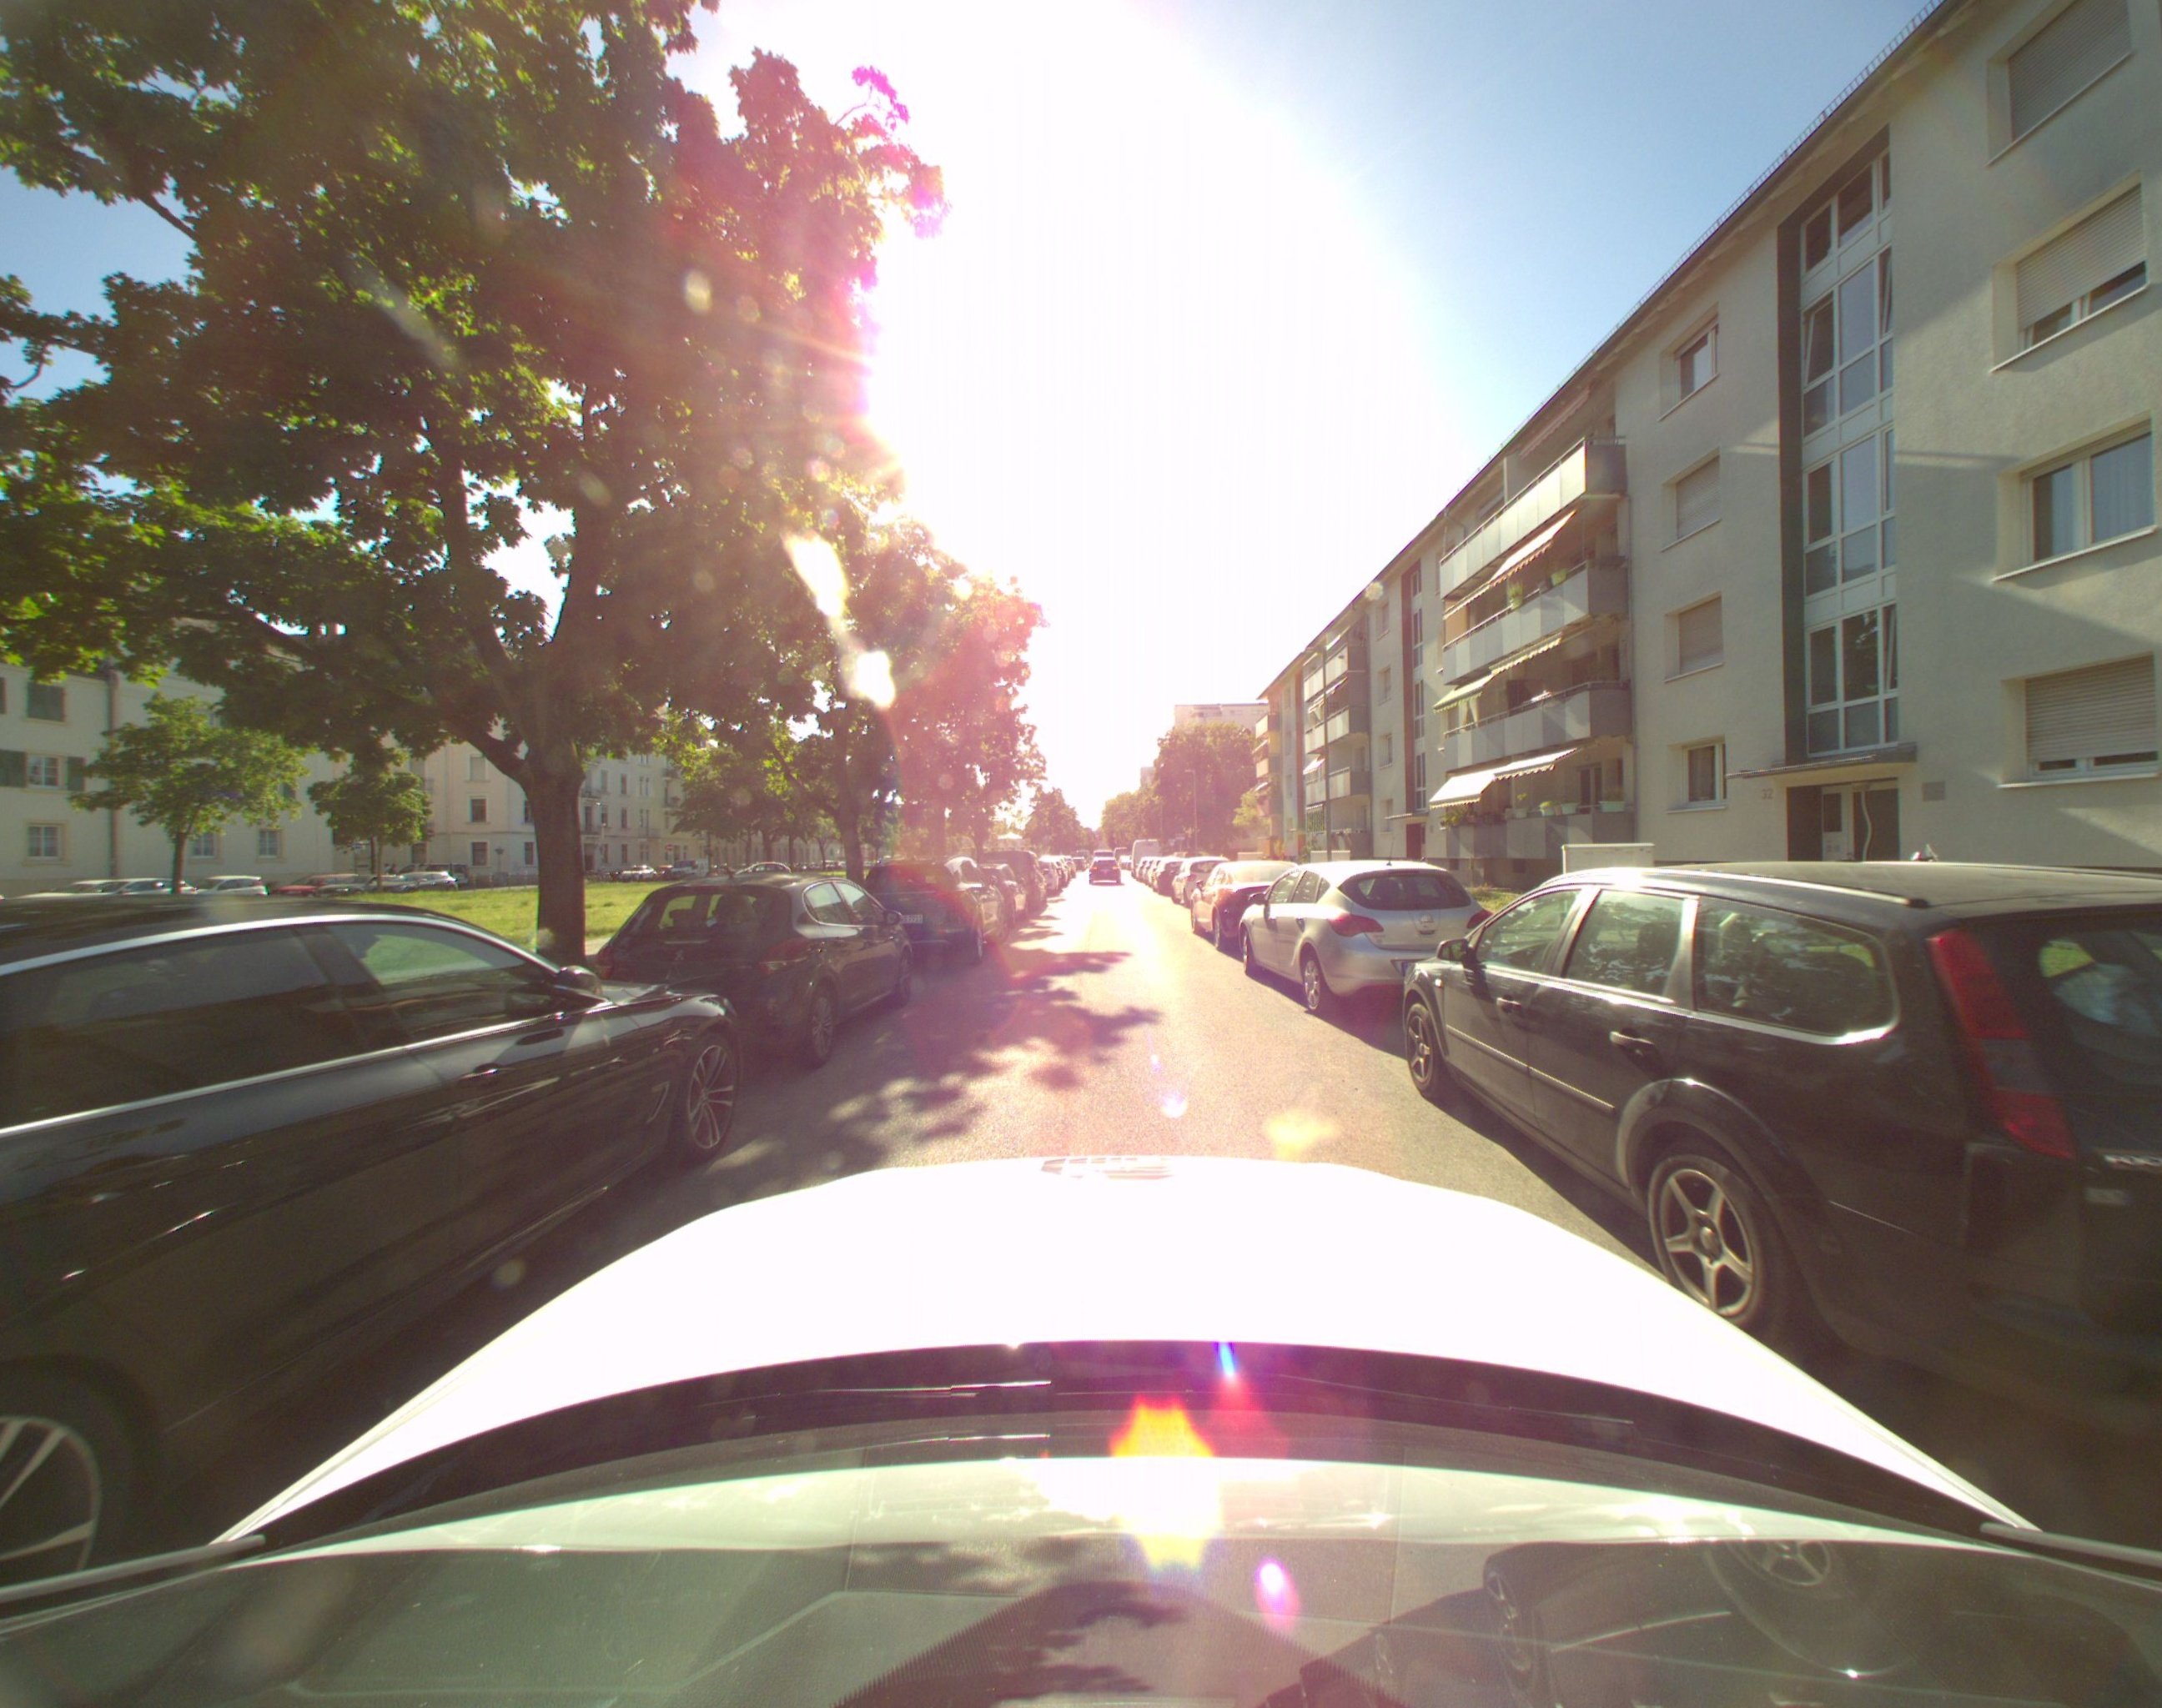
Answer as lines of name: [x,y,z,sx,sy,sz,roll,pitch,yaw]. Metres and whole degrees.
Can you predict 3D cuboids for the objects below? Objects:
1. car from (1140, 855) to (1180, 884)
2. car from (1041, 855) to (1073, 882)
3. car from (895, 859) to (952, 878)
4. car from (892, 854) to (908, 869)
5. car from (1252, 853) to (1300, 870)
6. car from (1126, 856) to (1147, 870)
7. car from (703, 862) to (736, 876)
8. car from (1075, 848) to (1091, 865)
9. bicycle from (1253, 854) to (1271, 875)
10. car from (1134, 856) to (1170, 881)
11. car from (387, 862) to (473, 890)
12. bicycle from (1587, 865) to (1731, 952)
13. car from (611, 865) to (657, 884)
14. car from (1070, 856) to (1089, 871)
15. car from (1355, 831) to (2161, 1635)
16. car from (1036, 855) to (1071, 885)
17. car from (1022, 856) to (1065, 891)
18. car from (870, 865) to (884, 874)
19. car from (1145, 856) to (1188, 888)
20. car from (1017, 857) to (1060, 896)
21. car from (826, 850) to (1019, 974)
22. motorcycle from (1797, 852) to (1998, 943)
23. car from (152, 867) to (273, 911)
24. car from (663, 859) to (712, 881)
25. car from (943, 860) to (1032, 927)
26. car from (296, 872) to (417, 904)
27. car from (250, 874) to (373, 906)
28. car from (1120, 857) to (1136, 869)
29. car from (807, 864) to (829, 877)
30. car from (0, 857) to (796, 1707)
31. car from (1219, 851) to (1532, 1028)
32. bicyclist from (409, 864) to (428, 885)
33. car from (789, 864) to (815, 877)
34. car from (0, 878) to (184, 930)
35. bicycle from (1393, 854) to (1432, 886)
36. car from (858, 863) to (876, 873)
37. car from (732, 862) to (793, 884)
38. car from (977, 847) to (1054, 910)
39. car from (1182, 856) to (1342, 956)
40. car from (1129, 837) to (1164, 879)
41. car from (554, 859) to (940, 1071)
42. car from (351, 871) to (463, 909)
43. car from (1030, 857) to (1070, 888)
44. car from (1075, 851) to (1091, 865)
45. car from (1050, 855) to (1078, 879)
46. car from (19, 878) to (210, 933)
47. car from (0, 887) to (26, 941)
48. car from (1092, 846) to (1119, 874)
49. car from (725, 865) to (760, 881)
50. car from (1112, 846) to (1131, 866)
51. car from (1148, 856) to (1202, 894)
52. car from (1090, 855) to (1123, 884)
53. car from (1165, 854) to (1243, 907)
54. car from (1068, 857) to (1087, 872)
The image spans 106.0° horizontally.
car: [4.343,0.818,45.194,1.871,1.475,4.141,-1,0,2]
car: [-1.619,0.960,55.444,1.836,1.638,4.716,-3,0,1]
car: [-13.179,1.225,68.074,4.353,1.409,1.906,-1,2,-23]
car: [-34.477,1.423,155.405,1.910,2.744,5.622,-1,0,-1]
car: [17.647,0.685,73.752,3.877,1.429,1.657,-1,0,-3]
car: [5.925,0.955,87.656,2.117,1.337,4.508,-4,0,2]
car: [-35.544,1.446,80.139,1.689,1.279,3.524,-1,0,-1]
car: [0.329,0.403,121.145,2.090,2.496,4.129,-1,0,2]
bicycle: [10.365,0.639,46.766,0.594,1.176,2.013,-1,-2,0]
car: [4.309,0.875,49.881,1.843,1.466,4.201,0,0,0]
car: [-48.371,1.607,60.561,4.550,2.013,2.138,-1,0,-3]
bicycle: [7.949,0.705,11.316,0.717,1.077,1.898,-1,0,3]
car: [-41.264,1.871,75.321,1.989,1.586,4.448,-1,0,-3]
car: [-0.126,1.066,88.529,1.770,1.495,3.877,-3,-1,2]
car: [2.851,0.712,3.812,1.762,1.529,4.560,-1,0,2]
car: [-1.613,0.922,49.354,1.813,1.610,4.740,-3,0,1]
car: [-1.740,0.903,39.153,1.750,1.492,4.667,-3,0,0]
car: [-34.388,2.598,137.170,1.513,1.440,3.230,-1,0,-1]
car: [4.133,0.818,39.818,1.715,1.435,4.154,-2,0,1]
car: [-1.746,0.923,34.708,1.581,1.492,3.684,-3,0,0]
car: [-2.356,0.804,13.546,2.018,1.625,4.760,-2,0,2]
motorcycle: [11.328,0.558,11.418,0.582,1.151,2.032,-1,0,-8]
car: [-42.065,1.640,39.589,1.659,2.014,3.897,-1,-1,1]
car: [-36.006,1.421,74.764,2.076,1.872,5.095,-1,0,-1]
car: [-2.163,0.881,19.814,1.532,1.428,4.089,-1,0,2]
car: [-39.019,1.785,44.064,1.987,1.485,4.958,-2,0,0]
car: [-41.914,1.930,44.563,1.987,1.485,4.958,-2,0,0]
car: [5.337,1.040,93.621,1.772,1.371,4.129,-1,0,2]
car: [-35.088,2.141,108.585,1.627,1.686,4.079,-1,0,-1]
car: [-2.848,0.810,2.747,1.988,1.516,5.155,-2,0,-1]
car: [3.012,0.766,9.494,1.868,1.534,4.489,-1,0,-2]
bicyclist: [-43.171,1.340,53.071,0.530,1.364,0.785,-1,0,0]
car: [-35.231,2.120,103.032,1.751,1.549,4.525,-1,0,-1]
car: [-42.260,2.057,34.774,2.146,1.886,5.159,-1,0,1]
bicycle: [11.814,0.542,29.106,0.521,1.071,2.010,-3,0,0]
car: [-34.832,2.259,132.661,1.839,1.440,3.775,-1,0,1]
car: [-24.736,1.443,63.311,4.353,1.576,1.914,-1,0,-23]
car: [-1.967,0.734,25.893,1.857,1.785,4.992,-1,-1,1]
car: [3.053,0.796,14.882,1.837,1.473,5.065,-1,0,1]
car: [4.601,0.295,57.854,2.134,2.713,6.846,-3,0,3]
car: [-2.658,0.804,7.563,1.873,1.419,3.805,-2,-1,2]
car: [-36.451,1.880,44.217,2.151,1.820,4.703,-1,0,-1]
car: [-1.640,0.973,44.323,1.867,1.519,4.470,-3,0,0]
car: [0.338,0.546,114.730,2.091,1.942,4.128,-1,0,1]
car: [-1.254,0.956,61.961,1.749,1.647,4.290,-3,0,2]
car: [-36.746,1.900,31.188,2.229,1.820,4.256,-1,0,-1]
car: [-36.847,1.999,25.503,2.308,1.750,4.011,-1,0,3]
car: [1.896,0.469,61.962,1.887,1.991,4.013,-3,0,2]
car: [-35.462,1.923,85.442,1.689,1.561,4.695,-1,0,-1]
car: [5.669,0.270,115.175,2.157,2.689,5.412,-1,0,-2]
car: [3.906,0.847,34.388,1.694,1.435,4.470,-3,0,0]
car: [1.444,0.832,45.799,1.772,1.531,4.003,0,0,2]
car: [3.817,0.786,25.806,1.743,1.499,3.858,-2,0,-2]
car: [-0.349,1.067,84.009,1.741,1.425,3.918,-3,-1,2]
